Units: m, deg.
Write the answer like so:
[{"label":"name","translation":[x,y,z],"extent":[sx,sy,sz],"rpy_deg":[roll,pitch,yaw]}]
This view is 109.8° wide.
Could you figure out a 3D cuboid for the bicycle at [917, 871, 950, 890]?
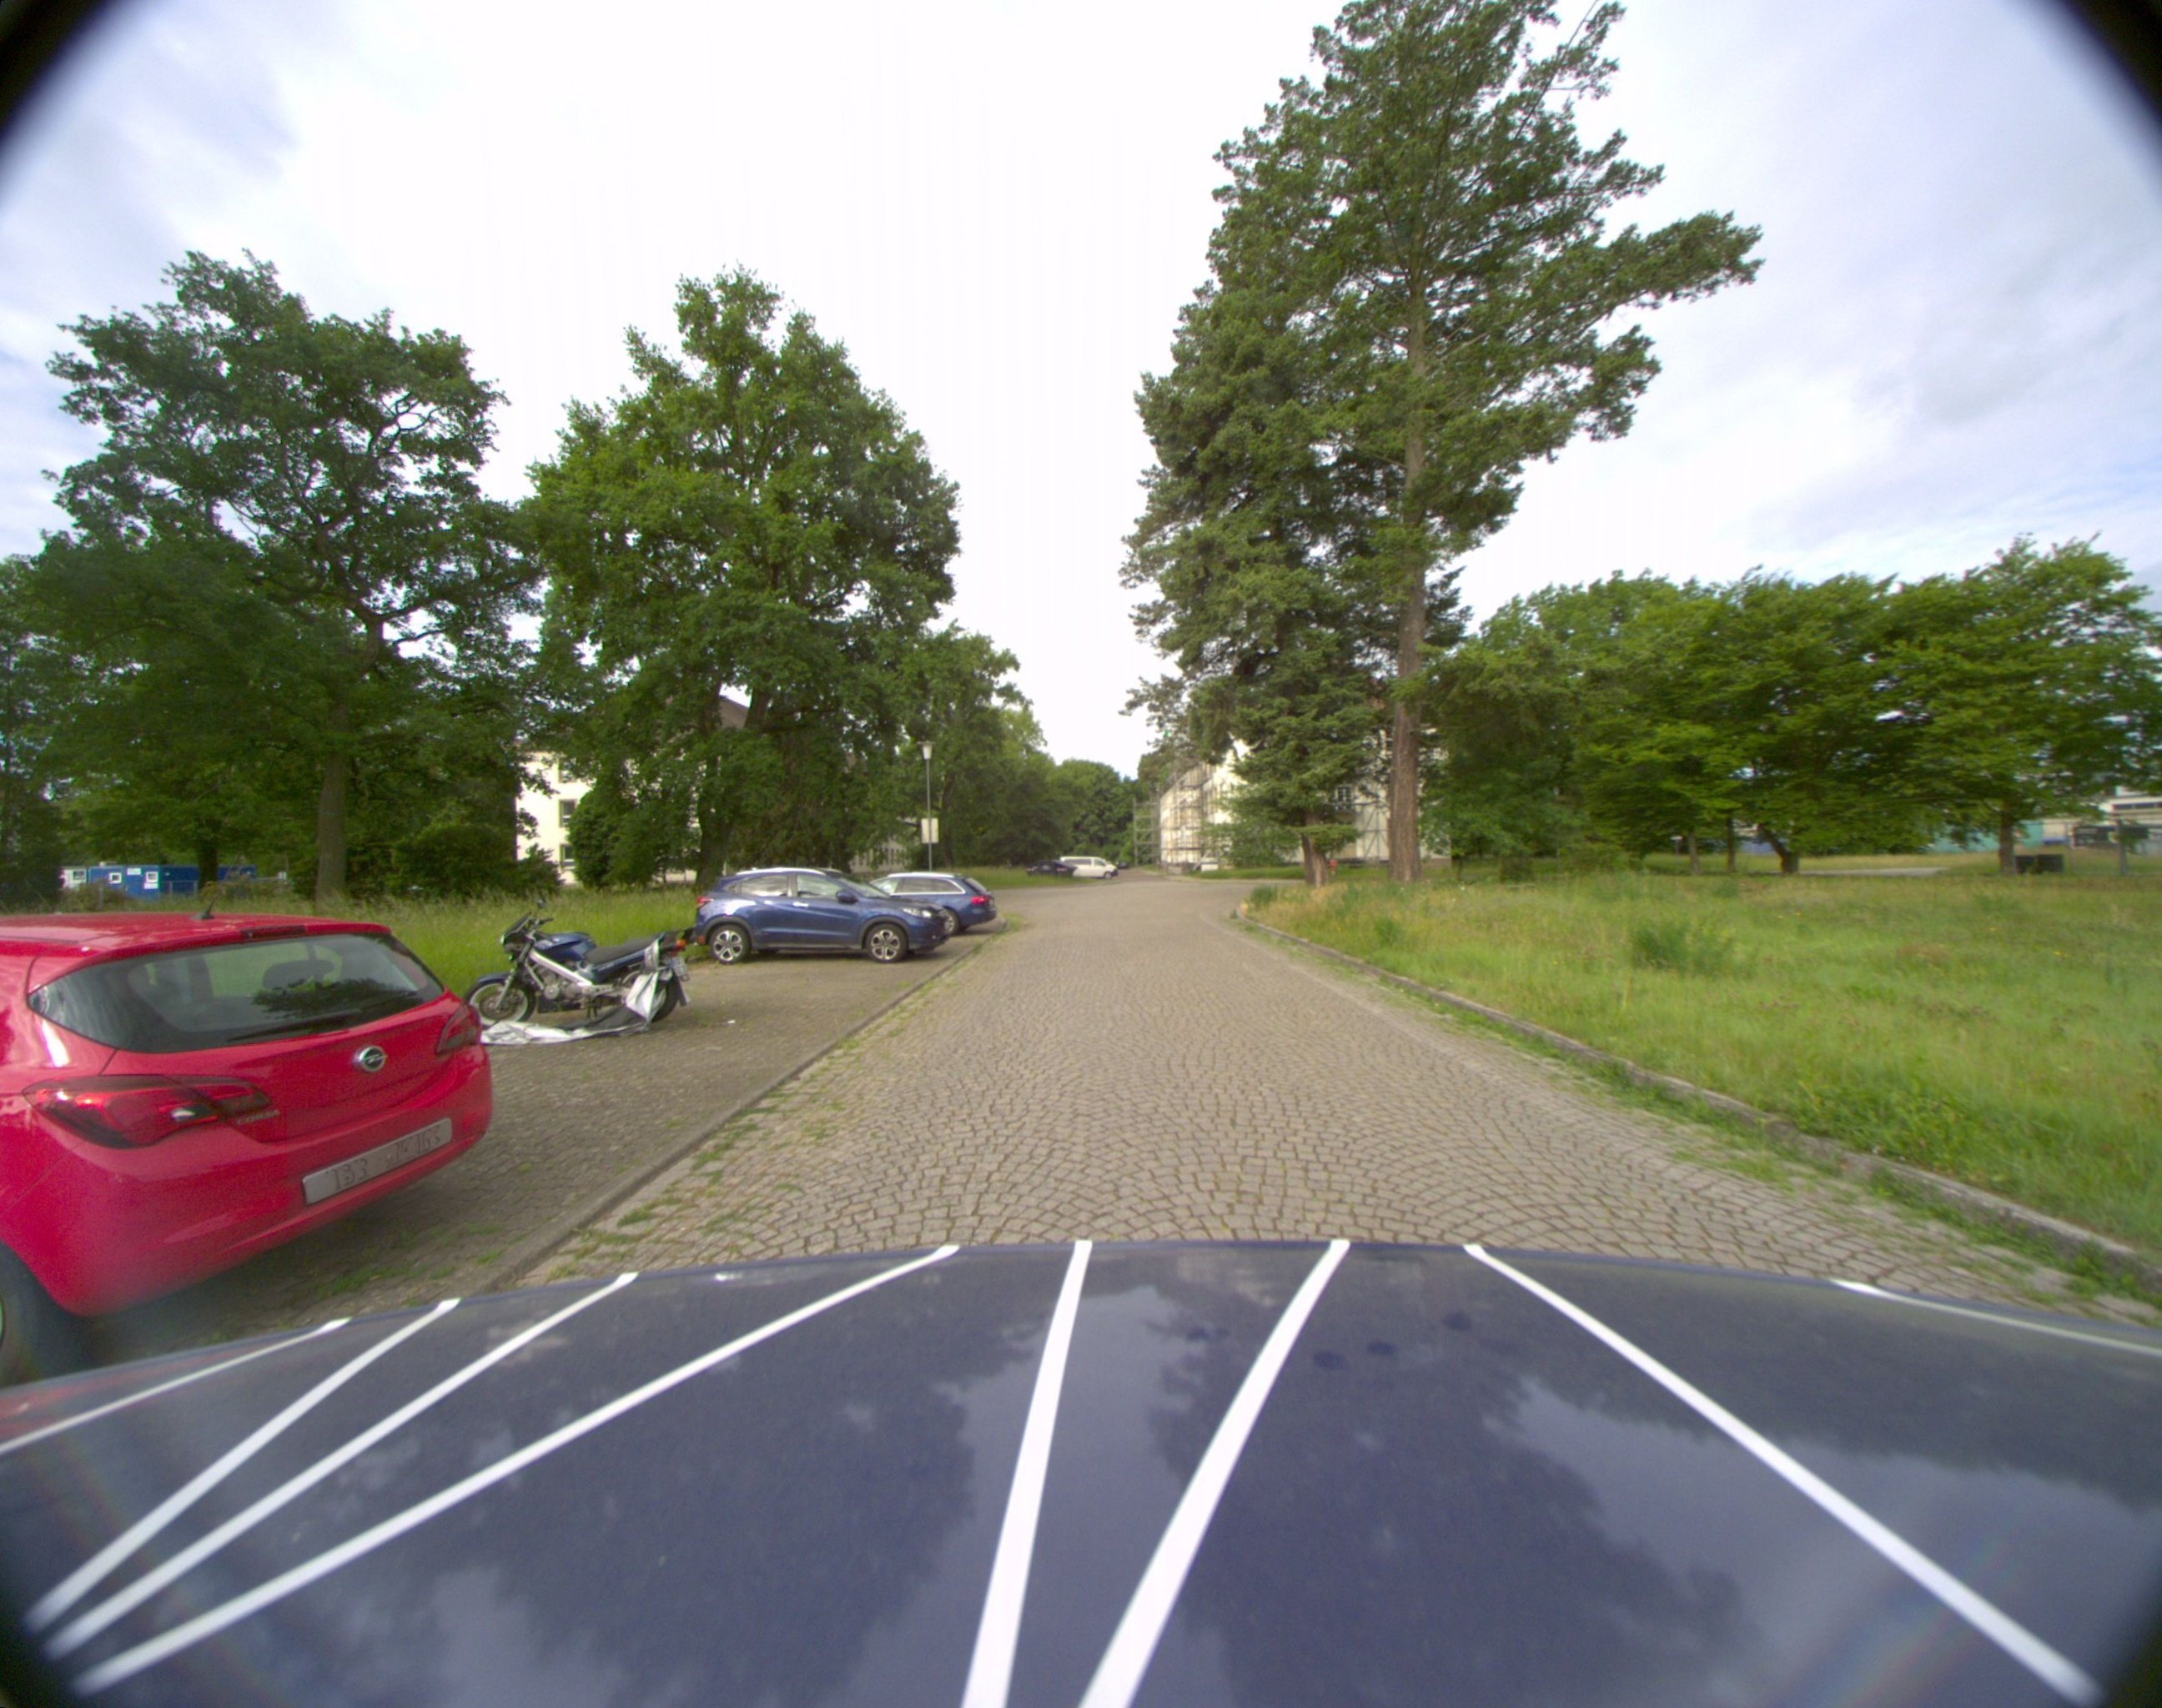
[{"label":"bicycle","translation":[-9.351,1.656,48.182],"extent":[1.976,1.070,0.587],"rpy_deg":[-2,0,-26]}]

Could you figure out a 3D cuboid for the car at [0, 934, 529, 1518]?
[{"label":"car","translation":[-4.775,1.150,3.031],"extent":[3.835,1.451,1.779],"rpy_deg":[0,0,1]}]

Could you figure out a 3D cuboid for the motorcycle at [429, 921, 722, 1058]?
[{"label":"motorcycle","translation":[-4.940,1.308,7.547],"extent":[2.333,1.179,0.795],"rpy_deg":[-1,0,-2]}]

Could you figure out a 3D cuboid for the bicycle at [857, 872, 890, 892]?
[{"label":"bicycle","translation":[-12.957,1.736,47.493],"extent":[1.859,1.116,0.621],"rpy_deg":[-2,0,-22]}]

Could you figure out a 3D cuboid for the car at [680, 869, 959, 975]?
[{"label":"car","translation":[-4.403,1.127,13.258],"extent":[4.172,1.562,1.793],"rpy_deg":[-2,1,1]}]

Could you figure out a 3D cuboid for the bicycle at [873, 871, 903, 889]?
[{"label":"bicycle","translation":[-13.048,1.729,51.375],"extent":[1.859,1.116,0.621],"rpy_deg":[-2,0,-22]}]

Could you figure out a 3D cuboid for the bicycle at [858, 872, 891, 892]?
[{"label":"bicycle","translation":[-12.766,1.728,46.880],"extent":[1.859,1.116,0.621],"rpy_deg":[-2,0,-22]}]

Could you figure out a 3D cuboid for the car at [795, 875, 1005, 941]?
[{"label":"car","translation":[-4.170,1.242,17.955],"extent":[4.479,1.413,1.785],"rpy_deg":[-1,0,4]}]

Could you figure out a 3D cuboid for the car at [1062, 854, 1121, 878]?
[{"label":"car","translation":[0.880,1.002,66.737],"extent":[5.100,2.007,2.055],"rpy_deg":[-1,0,0]}]

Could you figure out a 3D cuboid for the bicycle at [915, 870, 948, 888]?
[{"label":"bicycle","translation":[-9.895,1.632,50.296],"extent":[2.032,1.070,0.621],"rpy_deg":[-2,0,-22]}]
